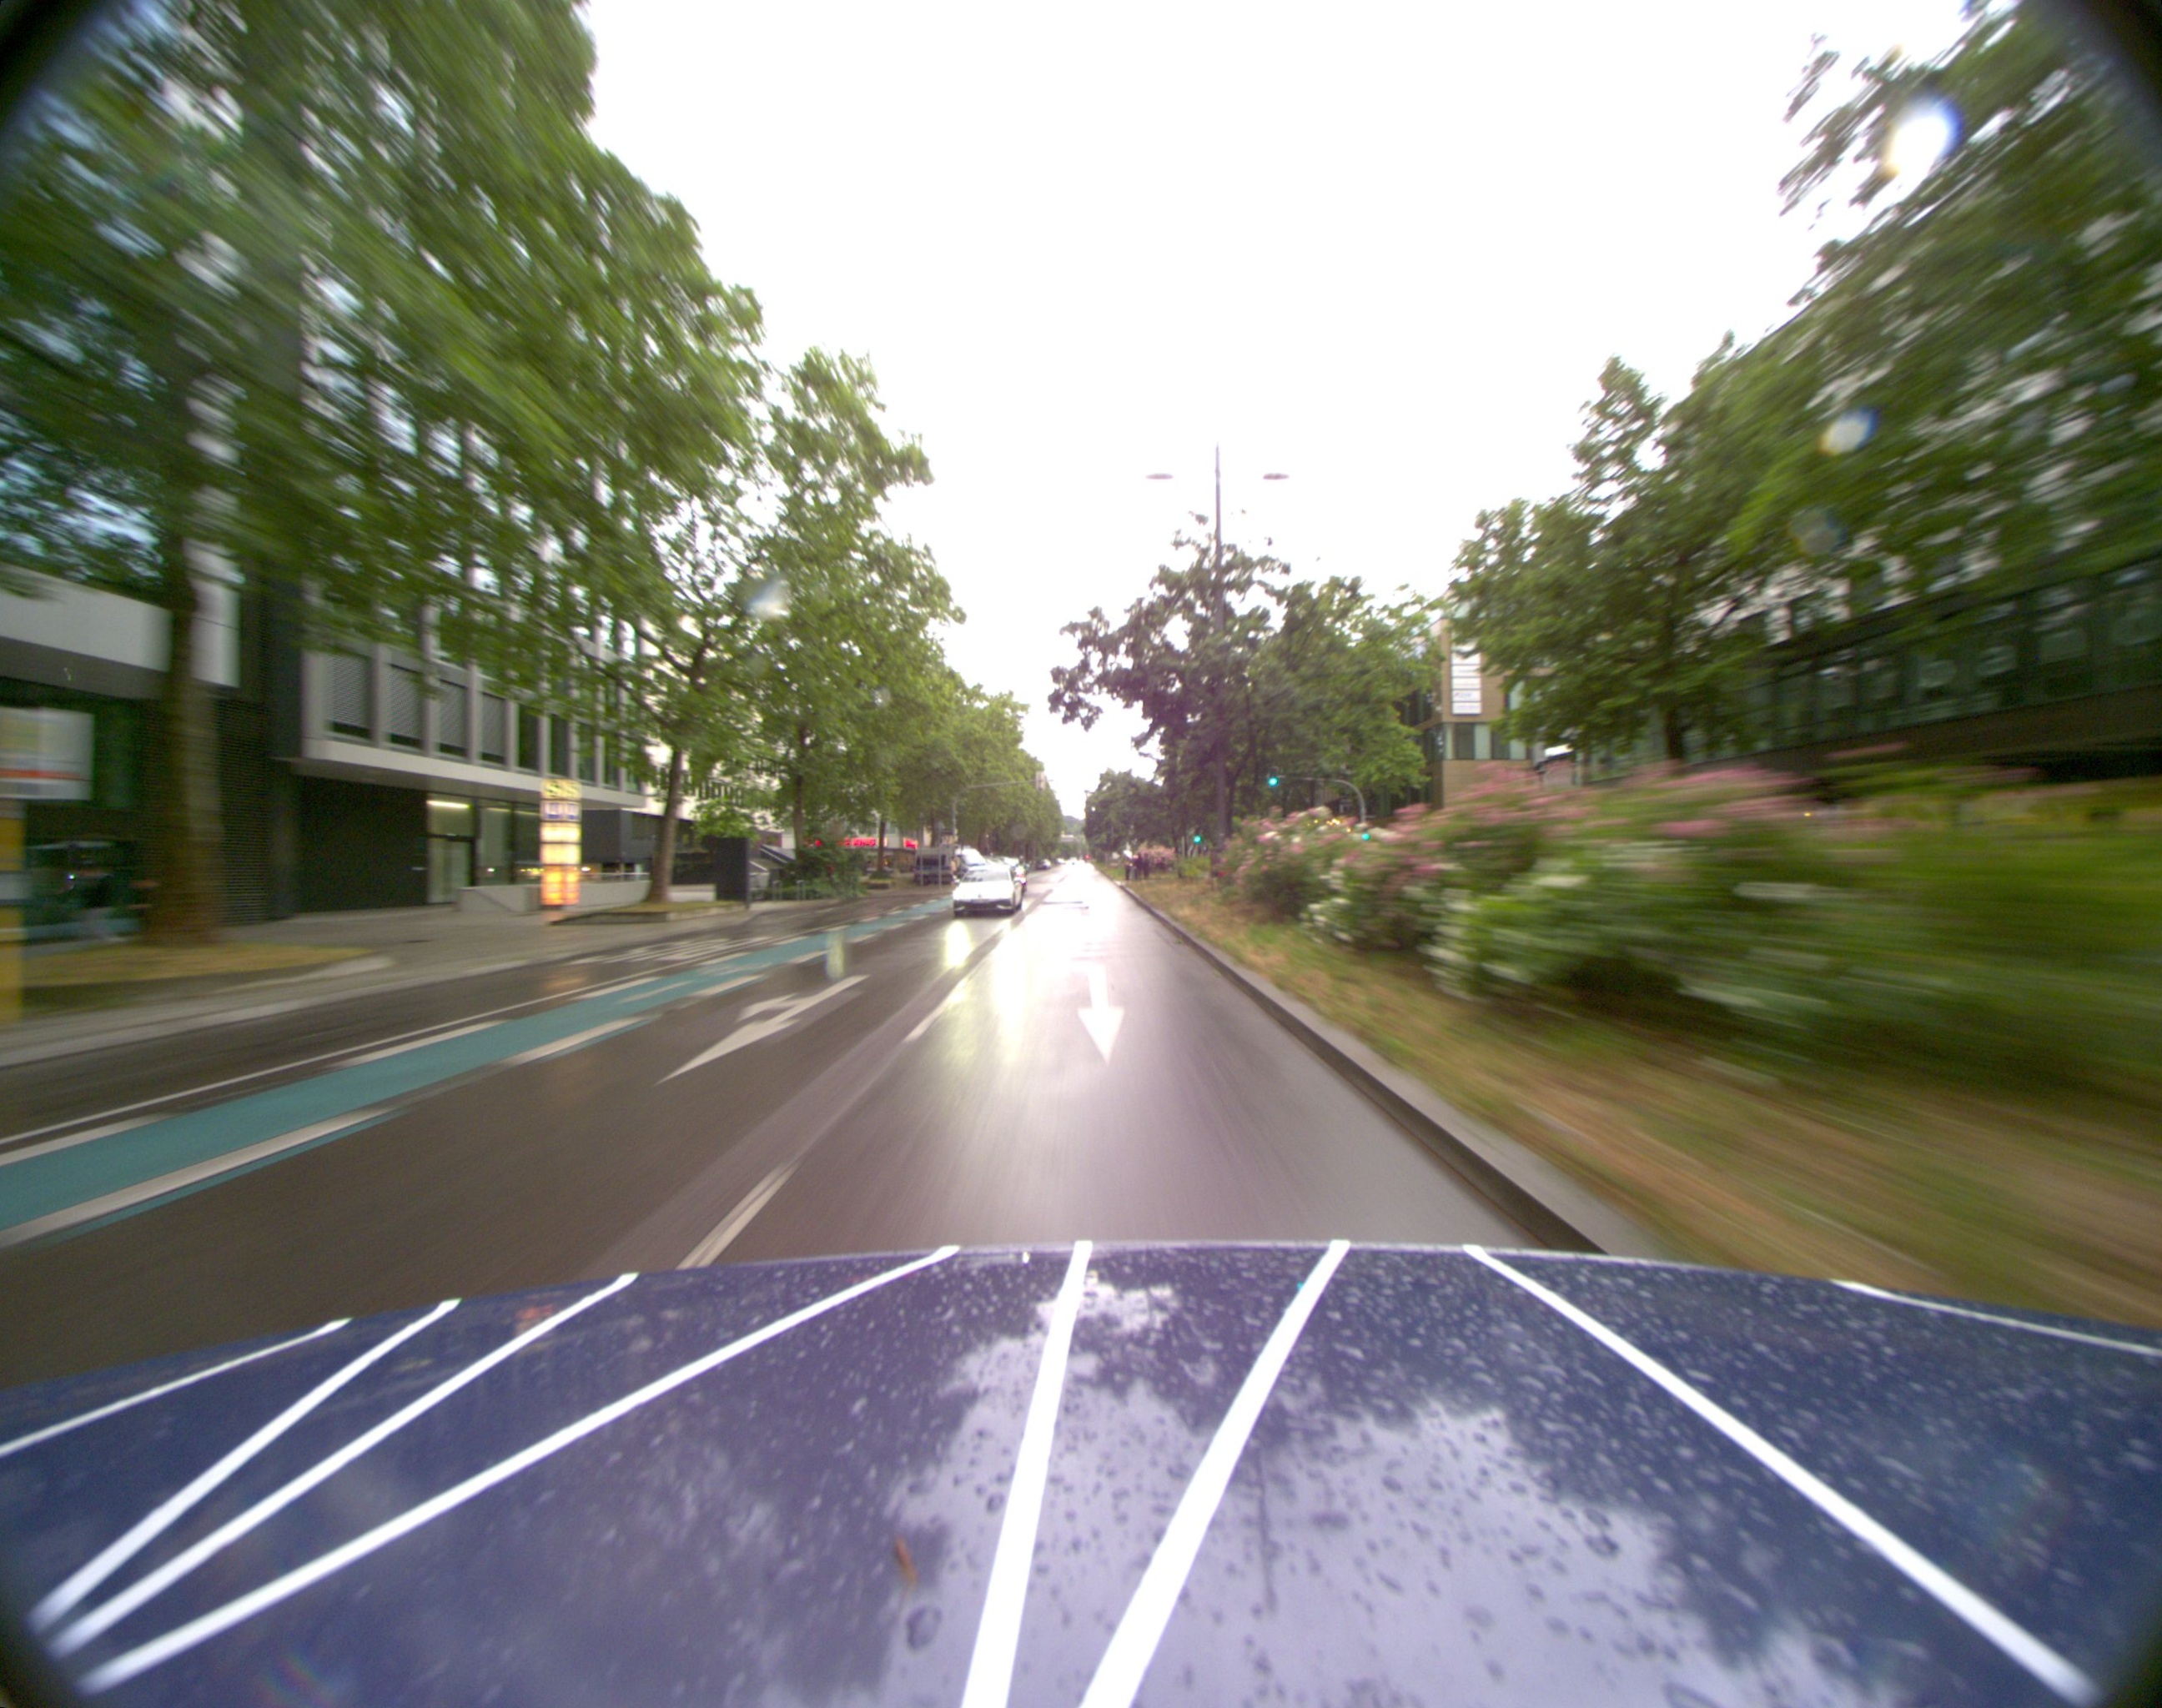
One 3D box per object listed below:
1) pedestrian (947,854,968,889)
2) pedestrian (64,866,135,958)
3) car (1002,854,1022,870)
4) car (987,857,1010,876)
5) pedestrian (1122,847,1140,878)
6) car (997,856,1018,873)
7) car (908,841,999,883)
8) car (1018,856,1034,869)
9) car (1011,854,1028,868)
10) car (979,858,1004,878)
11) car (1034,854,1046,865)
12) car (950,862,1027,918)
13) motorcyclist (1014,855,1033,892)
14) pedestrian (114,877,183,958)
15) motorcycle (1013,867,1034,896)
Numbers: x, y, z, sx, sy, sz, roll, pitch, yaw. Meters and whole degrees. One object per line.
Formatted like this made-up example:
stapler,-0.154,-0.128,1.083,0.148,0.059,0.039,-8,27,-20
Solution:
pedestrian,-6.635,0.925,40.921,0.891,1.839,0.721,-2,1,7
pedestrian,-20.458,1.182,15.852,0.524,1.848,0.704,1,2,0
car,-6.835,0.794,75.625,1.598,1.516,3.425,-1,0,0
car,-7.122,1.037,65.859,1.598,1.516,3.425,-1,0,0
pedestrian,2.985,0.495,45.215,0.892,1.839,0.787,-2,1,-4
car,-6.940,0.983,71.616,1.598,1.506,3.425,-1,0,0
car,-8.782,0.577,52.034,6.267,2.665,2.326,-1,1,36
car,-6.721,1.001,93.094,1.598,1.516,3.425,-1,0,0
car,-6.854,0.784,84.905,1.598,1.516,3.425,-1,0,0
car,-7.277,1.103,61.822,1.598,1.516,3.425,-1,0,0
car,-6.341,0.831,117.503,1.598,1.516,3.425,-1,0,0
car,-2.765,1.042,23.440,1.795,1.463,3.793,-2,0,1
motorcyclist,-2.550,0.843,33.824,0.744,1.575,1.059,-2,1,0
pedestrian,-19.487,1.302,15.889,0.527,1.616,0.719,1,2,0
motorcycle,-2.541,1.205,33.797,0.744,1.194,2.235,-2,1,0
